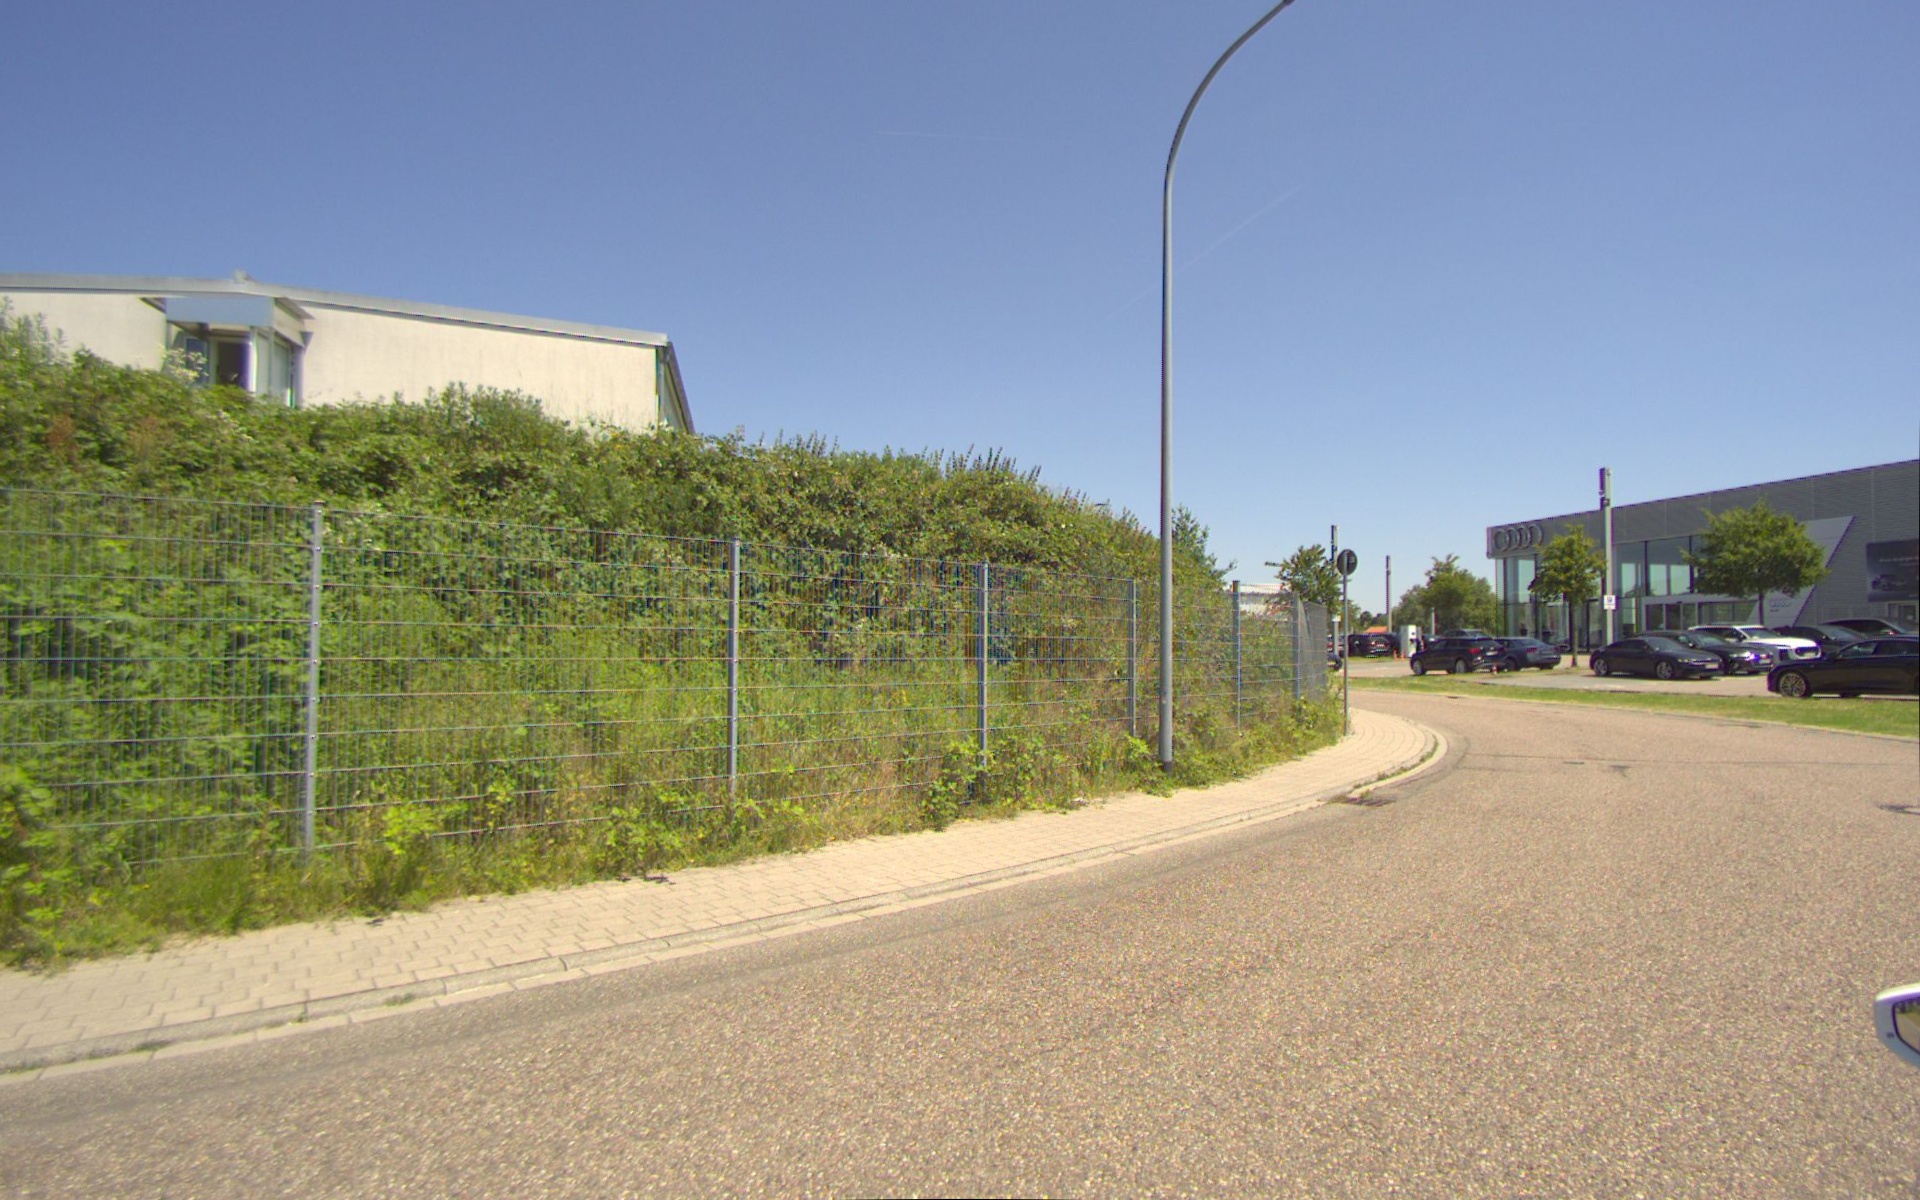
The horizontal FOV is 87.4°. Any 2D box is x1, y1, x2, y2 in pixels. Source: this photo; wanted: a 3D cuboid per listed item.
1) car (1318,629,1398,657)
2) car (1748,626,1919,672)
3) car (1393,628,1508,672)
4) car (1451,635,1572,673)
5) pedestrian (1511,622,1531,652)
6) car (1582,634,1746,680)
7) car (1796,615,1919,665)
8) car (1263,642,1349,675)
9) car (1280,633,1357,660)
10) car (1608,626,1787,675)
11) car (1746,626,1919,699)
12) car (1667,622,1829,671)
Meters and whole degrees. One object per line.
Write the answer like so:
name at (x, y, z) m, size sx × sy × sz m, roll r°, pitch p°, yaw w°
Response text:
car at (23.396, 2.591, 59.320) m, size 1.933 × 1.475 × 4.977 m, roll 0°, pitch -4°, yaw -12°
car at (30.969, 1.729, 35.712) m, size 1.934 × 1.496 × 4.362 m, roll -1°, pitch -2°, yaw -13°
car at (19.555, 1.965, 40.286) m, size 1.861 × 1.592 × 4.217 m, roll -2°, pitch -2°, yaw -13°
car at (22.265, 2.159, 40.742) m, size 1.934 × 1.384 × 4.217 m, roll -2°, pitch -2°, yaw -13°
pedestrian at (34.804, 2.304, 62.334) m, size 0.759 × 1.799 × 0.744 m, roll 0°, pitch -2°, yaw -7°
car at (23.484, 1.872, 33.708) m, size 1.934 × 1.393 × 4.301 m, roll -1°, pitch -2°, yaw -13°
car at (34.510, 1.495, 37.594) m, size 1.934 × 1.762 × 4.718 m, roll -1°, pitch -2°, yaw -13°
car at (17.401, 2.926, 50.825) m, size 1.933 × 1.384 × 4.710 m, roll -2°, pitch -1°, yaw -12°
car at (20.966, 2.759, 58.972) m, size 1.933 × 1.475 × 4.977 m, roll 0°, pitch -4°, yaw -12°
car at (25.755, 1.746, 35.355) m, size 1.934 × 1.573 × 4.994 m, roll -1°, pitch -2°, yaw -13°
car at (20.660, 1.348, 22.258) m, size 1.853 × 1.474 × 5.012 m, roll -1°, pitch -2°, yaw -13°
car at (28.148, 1.651, 36.056) m, size 1.934 × 1.634 × 4.278 m, roll -1°, pitch -2°, yaw -13°
